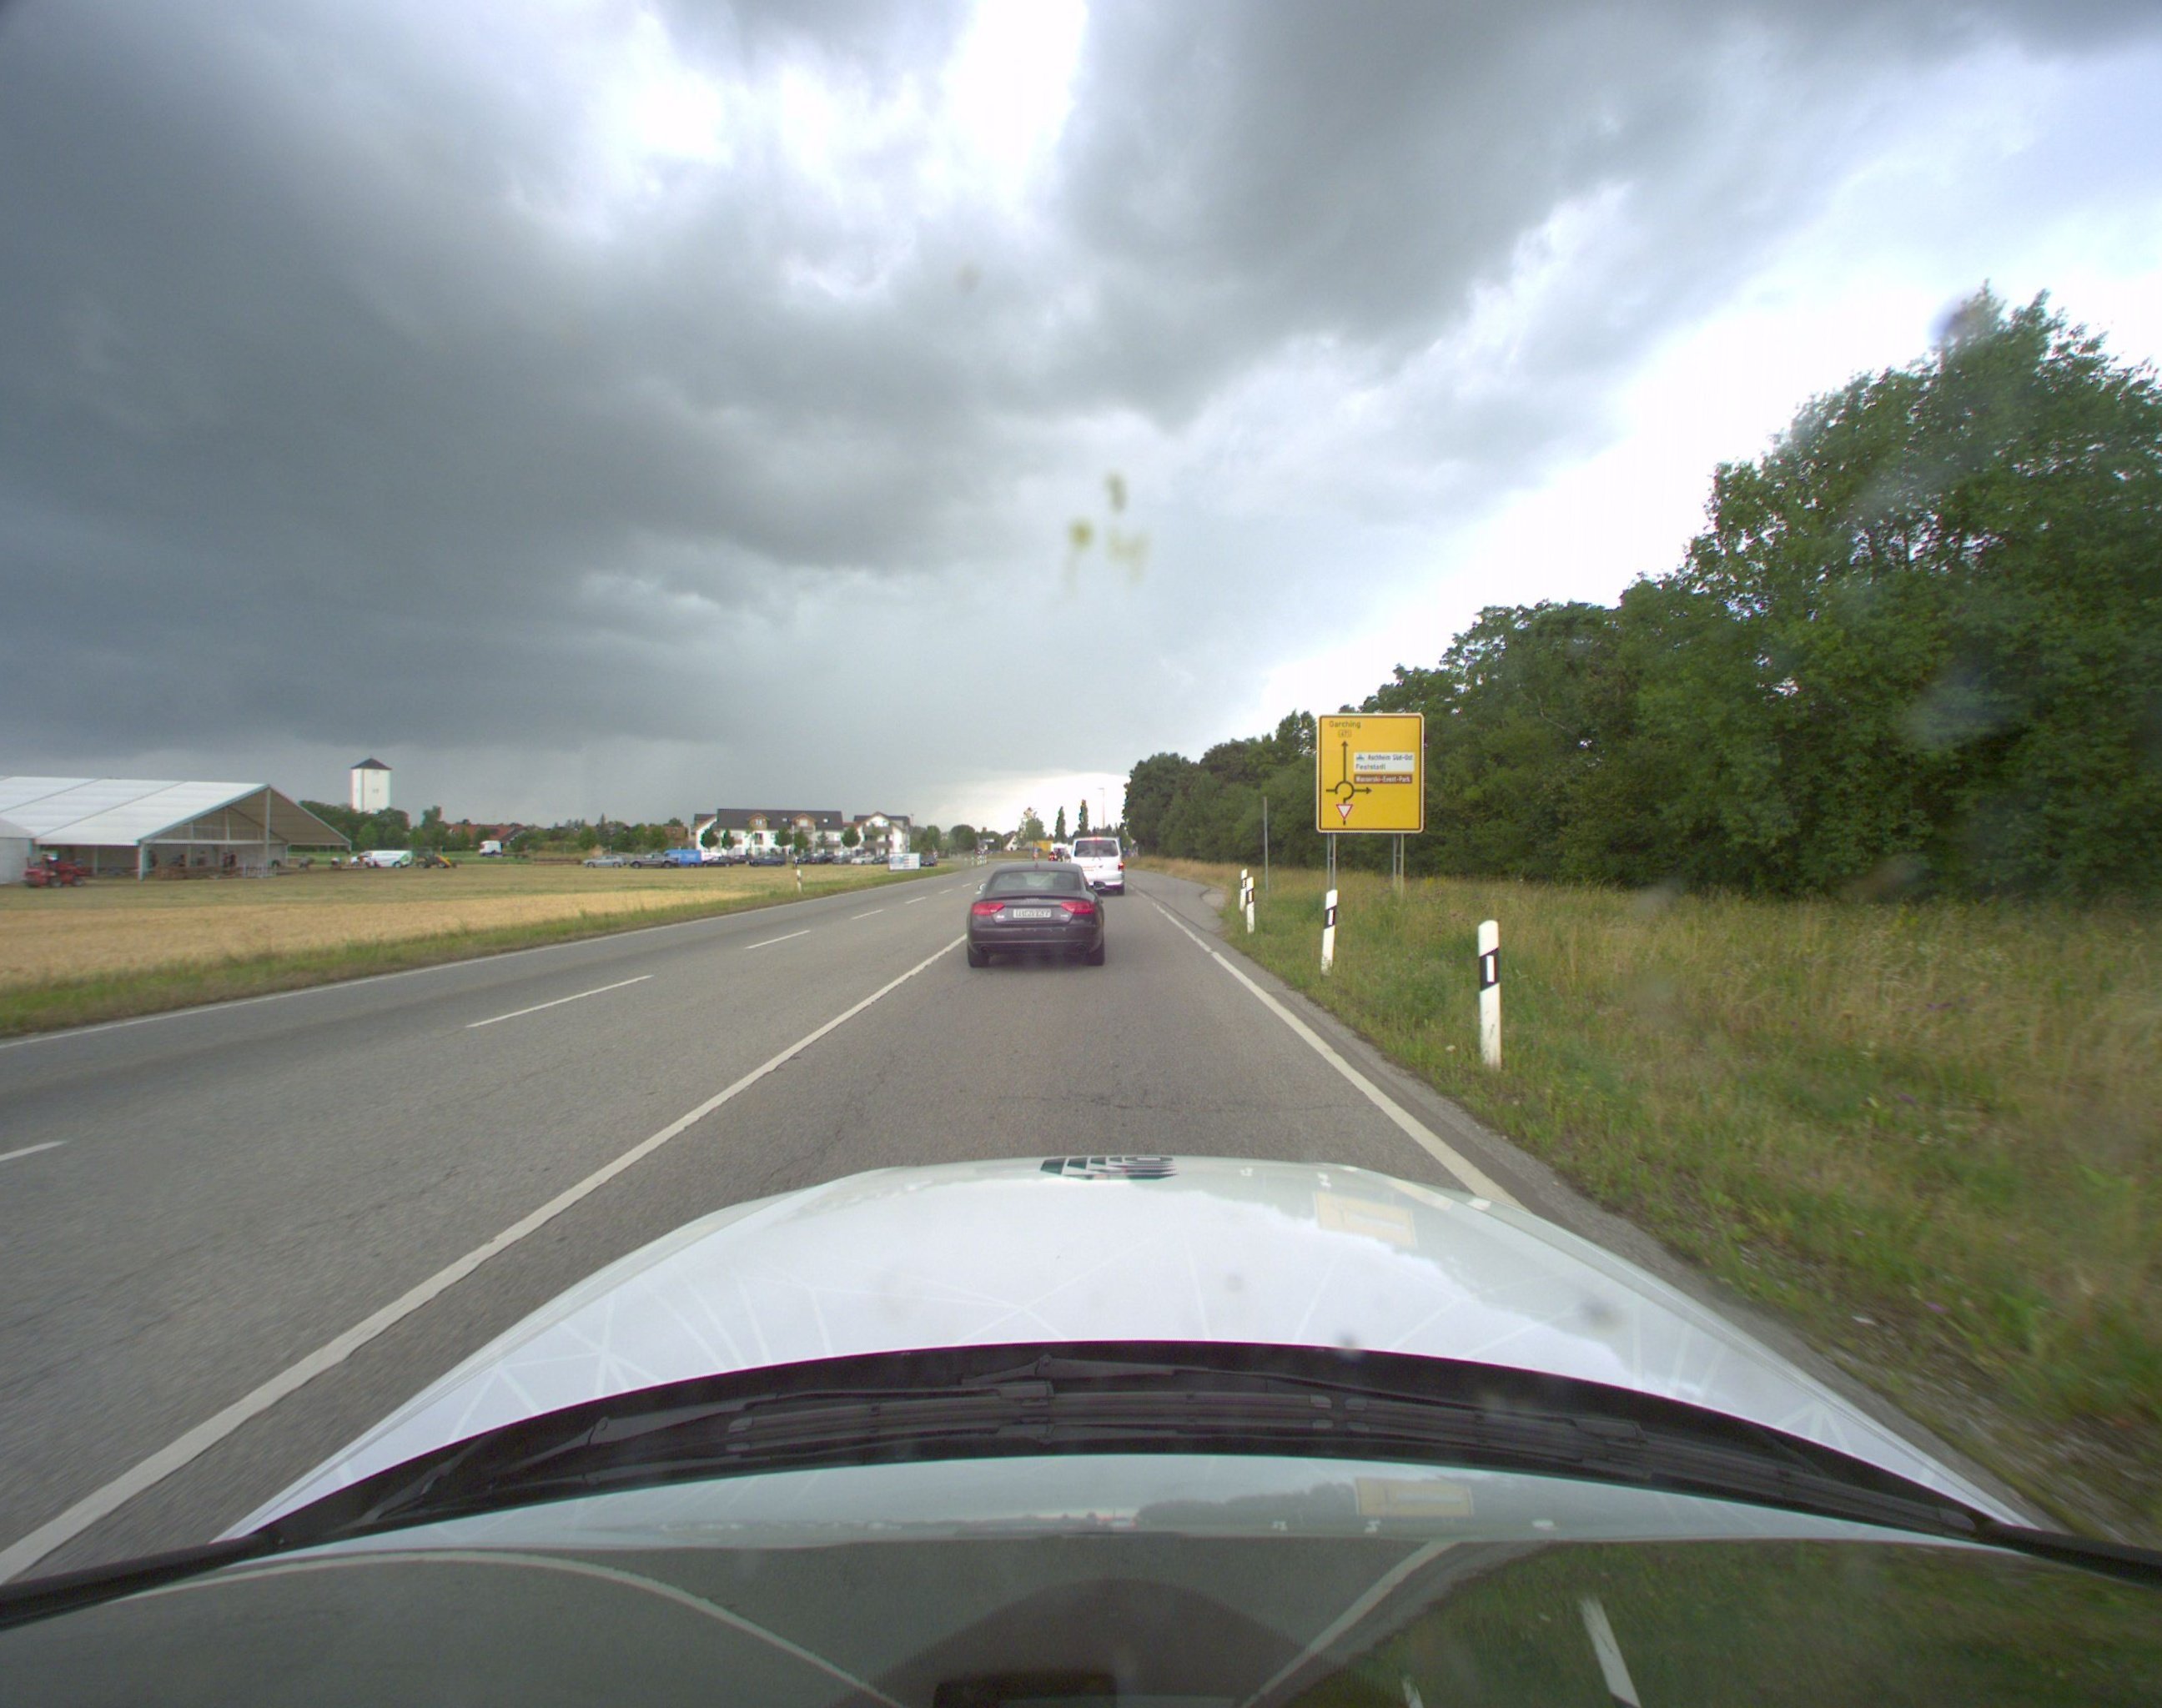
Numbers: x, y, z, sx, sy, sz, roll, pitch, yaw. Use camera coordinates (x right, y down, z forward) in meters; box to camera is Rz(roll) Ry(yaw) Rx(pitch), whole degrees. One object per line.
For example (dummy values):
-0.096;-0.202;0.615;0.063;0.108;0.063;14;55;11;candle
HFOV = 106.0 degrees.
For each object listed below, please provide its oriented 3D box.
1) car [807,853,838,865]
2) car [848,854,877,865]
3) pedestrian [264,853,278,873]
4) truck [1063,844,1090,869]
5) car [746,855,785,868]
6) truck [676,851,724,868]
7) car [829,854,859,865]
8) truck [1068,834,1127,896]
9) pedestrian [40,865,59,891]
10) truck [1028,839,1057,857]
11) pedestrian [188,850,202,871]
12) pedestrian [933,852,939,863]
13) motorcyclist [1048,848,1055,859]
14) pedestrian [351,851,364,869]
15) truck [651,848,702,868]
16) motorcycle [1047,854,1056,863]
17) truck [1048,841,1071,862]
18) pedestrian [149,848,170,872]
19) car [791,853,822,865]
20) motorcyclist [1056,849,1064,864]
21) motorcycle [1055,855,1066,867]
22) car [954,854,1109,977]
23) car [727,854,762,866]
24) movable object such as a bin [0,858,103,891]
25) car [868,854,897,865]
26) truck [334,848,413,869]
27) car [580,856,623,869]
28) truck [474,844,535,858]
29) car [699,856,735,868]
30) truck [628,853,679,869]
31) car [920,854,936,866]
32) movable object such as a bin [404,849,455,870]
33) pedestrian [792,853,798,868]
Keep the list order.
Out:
-36.673;0.730;115.699;1.977;1.629;4.231;-1;0;18;car
-30.765;0.745;114.896;1.977;1.446;4.231;-1;0;18;car
-72.868;0.795;73.264;0.691;1.776;0.689;0;0;-24;pedestrian
-0.355;0.191;67.748;2.186;2.013;5.084;0;0;0;truck
-41.693;0.946;107.775;4.732;1.697;1.986;0;0;-21;car
-50.610;0.666;108.329;5.589;2.196;2.587;0;0;-23;truck
-33.521;0.786;115.278;1.977;1.535;4.231;-1;0;18;car
0.535;0.358;28.700;1.898;1.998;4.628;0;0;0;truck
-64.280;1.483;50.731;0.470;1.627;0.581;0;0;-15;pedestrian
-8.202;-1.321;171.811;3.586;3.578;9.895;0;0;-18;truck
-76.092;0.540;69.930;0.736;1.779;0.751;0;0;-44;pedestrian
-21.974;0.528;123.276;0.695;1.586;0.660;0;0;16;pedestrian
-3.552;-0.037;98.743;0.784;1.356;0.852;0;0;-6;motorcyclist
-73.630;0.586;82.875;0.690;1.776;0.691;0;0;-16;pedestrian
-49.978;0.473;100.818;5.471;2.446;2.376;0;0;-23;truck
-3.543;0.540;98.811;0.943;1.019;2.279;0;0;-6;motorcycle
-2.996;-0.350;110.092;2.624;2.737;5.853;0;0;-7;truck
-76.416;0.490;67.548;0.871;2.013;0.768;0;0;2;pedestrian
-39.607;0.707;117.628;1.977;1.629;4.231;-1;0;18;car
-1.994;0.232;77.975;0.769;1.383;0.820;0;0;1;motorcyclist
-1.980;0.665;77.944;0.917;1.094;2.189;0;0;1;motorcycle
-0.617;0.746;12.015;1.869;1.454;4.176;-1;0;-1;car
-49.292;0.846;119.508;4.642;1.697;1.986;0;0;-21;car
-61.843;1.168;48.651;2.600;1.864;4.439;0;0;-23;movable object such as a bin
-27.875;0.810;114.527;1.977;1.446;4.231;-1;0;18;car
-77.349;0.520;89.199;6.078;2.217;2.696;0;0;-28;truck
-57.555;1.027;97.816;4.318;1.461;1.875;0;0;-27;car
-105.973;-0.521;149.847;9.296;2.530;3.306;0;0;6;truck
-47.098;0.988;105.533;4.170;1.518;1.986;0;0;-21;car
-50.660;0.813;96.606;5.255;1.920;2.094;0;0;-27;truck
-19.203;0.713;102.276;1.994;1.442;3.985;0;1;-11;car
-70.808;0.538;88.527;4.008;2.243;1.868;0;0;-28;movable object such as a bin
-33.645;0.762;95.909;0.549;1.785;0.675;0;0;-12;pedestrian
